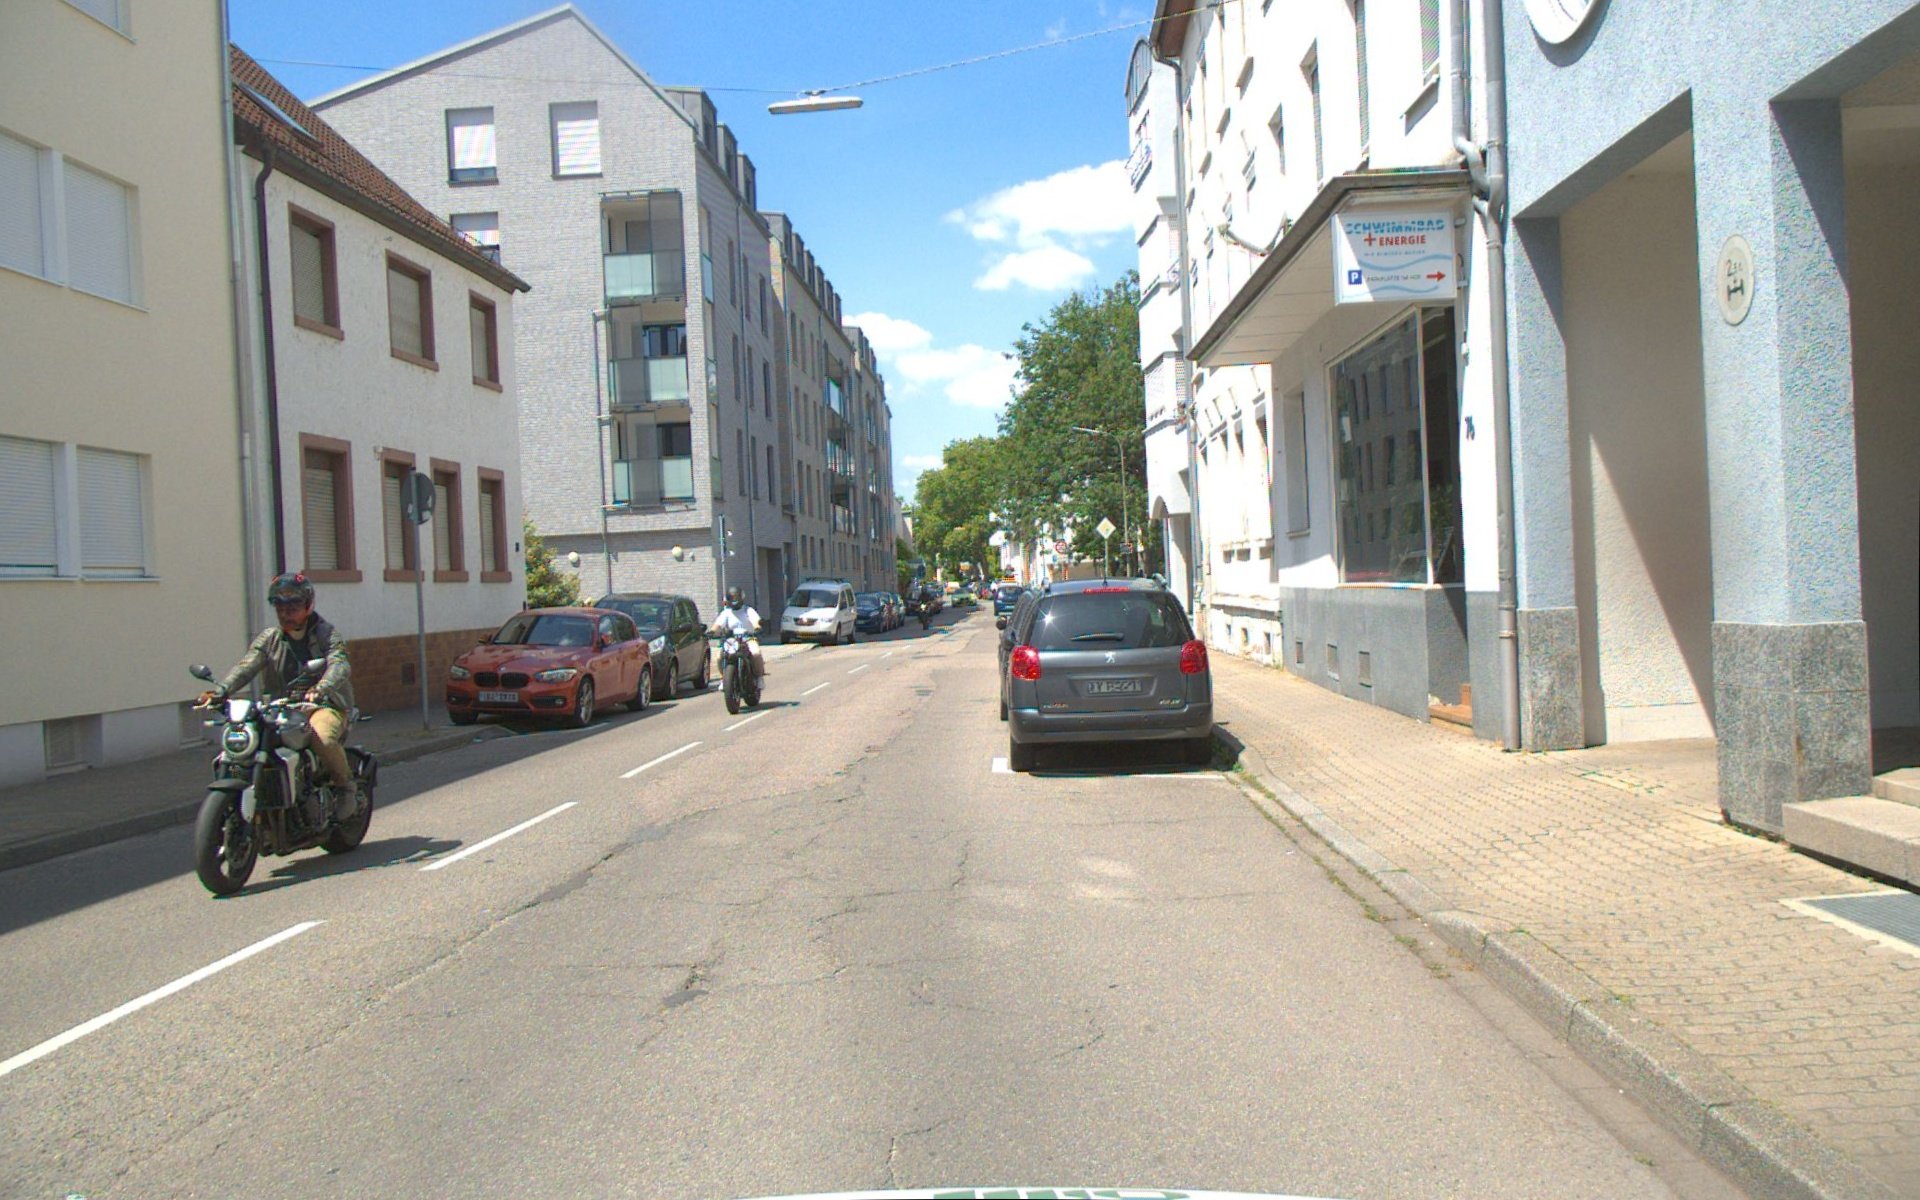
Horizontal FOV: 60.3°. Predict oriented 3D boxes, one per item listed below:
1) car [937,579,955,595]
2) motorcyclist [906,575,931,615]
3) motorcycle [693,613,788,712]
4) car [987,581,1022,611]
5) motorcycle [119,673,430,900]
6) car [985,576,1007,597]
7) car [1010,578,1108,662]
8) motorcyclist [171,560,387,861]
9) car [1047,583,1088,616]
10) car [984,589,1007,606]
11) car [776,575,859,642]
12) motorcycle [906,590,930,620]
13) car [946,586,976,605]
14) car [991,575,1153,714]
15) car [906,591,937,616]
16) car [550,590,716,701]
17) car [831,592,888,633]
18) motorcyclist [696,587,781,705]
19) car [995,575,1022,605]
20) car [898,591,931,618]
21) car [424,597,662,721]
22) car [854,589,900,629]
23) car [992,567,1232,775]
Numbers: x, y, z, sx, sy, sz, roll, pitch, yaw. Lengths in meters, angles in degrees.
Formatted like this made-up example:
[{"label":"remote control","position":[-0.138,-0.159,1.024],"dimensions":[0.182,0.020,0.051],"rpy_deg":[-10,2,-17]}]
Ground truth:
[{"label":"car","position":[-1.872,-1.791,227.383],"dimensions":[2.115,2.049,3.996],"rpy_deg":[-2,0,-5]},{"label":"motorcyclist","position":[-1.616,-0.205,64.498],"dimensions":[0.805,1.535,1.057],"rpy_deg":[-2,0,4]},{"label":"motorcycle","position":[-2.910,0.806,22.163],"dimensions":[0.877,1.196,2.209],"rpy_deg":[-1,0,2]},{"label":"car","position":[2.278,-0.219,83.740],"dimensions":[1.680,1.426,4.002],"rpy_deg":[-2,1,2]},{"label":"motorcycle","position":[-3.985,1.039,9.863],"dimensions":[0.698,1.046,2.241],"rpy_deg":[-2,1,6]},{"label":"car","position":[3.039,-1.149,140.076],"dimensions":[1.676,1.662,3.704],"rpy_deg":[-2,0,0]},{"label":"car","position":[1.771,0.340,30.390],"dimensions":[1.585,1.409,3.539],"rpy_deg":[-1,0,0]},{"label":"motorcyclist","position":[-4.005,0.613,9.807],"dimensions":[0.698,1.663,1.069],"rpy_deg":[-2,0,6]},{"label":"car","position":[5.201,-0.016,80.379],"dimensions":[1.658,1.444,4.000],"rpy_deg":[-4,0,1]},{"label":"car","position":[3.489,-0.220,162.975],"dimensions":[1.954,1.646,3.997],"rpy_deg":[-1,0,-4]},{"label":"car","position":[-4.257,0.209,50.101],"dimensions":[1.720,1.925,4.339],"rpy_deg":[1,1,6]},{"label":"motorcycle","position":[-1.626,0.190,64.465],"dimensions":[0.673,1.142,2.029],"rpy_deg":[-2,0,4]},{"label":"car","position":[0.096,-0.329,124.205],"dimensions":[1.952,1.405,4.395],"rpy_deg":[0,1,4]},{"label":"car","position":[1.278,0.468,20.048],"dimensions":[1.693,1.445,4.546],"rpy_deg":[-2,0,2]},{"label":"car","position":[-2.360,0.177,102.889],"dimensions":[1.696,1.467,4.001],"rpy_deg":[-2,0,1]},{"label":"car","position":[-5.273,0.680,27.190],"dimensions":[1.757,1.675,3.946],"rpy_deg":[-1,0,3]},{"label":"car","position":[-3.758,0.436,62.446],"dimensions":[1.687,1.481,4.007],"rpy_deg":[0,0,3]},{"label":"motorcyclist","position":[-2.948,0.594,22.129],"dimensions":[0.897,1.506,1.203],"rpy_deg":[-1,0,2]},{"label":"car","position":[3.455,-0.752,117.204],"dimensions":[1.801,2.048,4.002],"rpy_deg":[-2,1,2]},{"label":"car","position":[-2.660,0.246,97.688],"dimensions":[1.696,1.467,4.001],"rpy_deg":[-2,0,1]},{"label":"car","position":[-5.473,0.716,22.302],"dimensions":[1.795,1.441,4.292],"rpy_deg":[-2,0,4]},{"label":"car","position":[-3.386,0.353,67.911],"dimensions":[1.558,1.581,3.571],"rpy_deg":[-1,0,1]},{"label":"car","position":[1.200,0.536,14.643],"dimensions":[1.675,1.534,3.999],"rpy_deg":[-2,0,-1]}]
